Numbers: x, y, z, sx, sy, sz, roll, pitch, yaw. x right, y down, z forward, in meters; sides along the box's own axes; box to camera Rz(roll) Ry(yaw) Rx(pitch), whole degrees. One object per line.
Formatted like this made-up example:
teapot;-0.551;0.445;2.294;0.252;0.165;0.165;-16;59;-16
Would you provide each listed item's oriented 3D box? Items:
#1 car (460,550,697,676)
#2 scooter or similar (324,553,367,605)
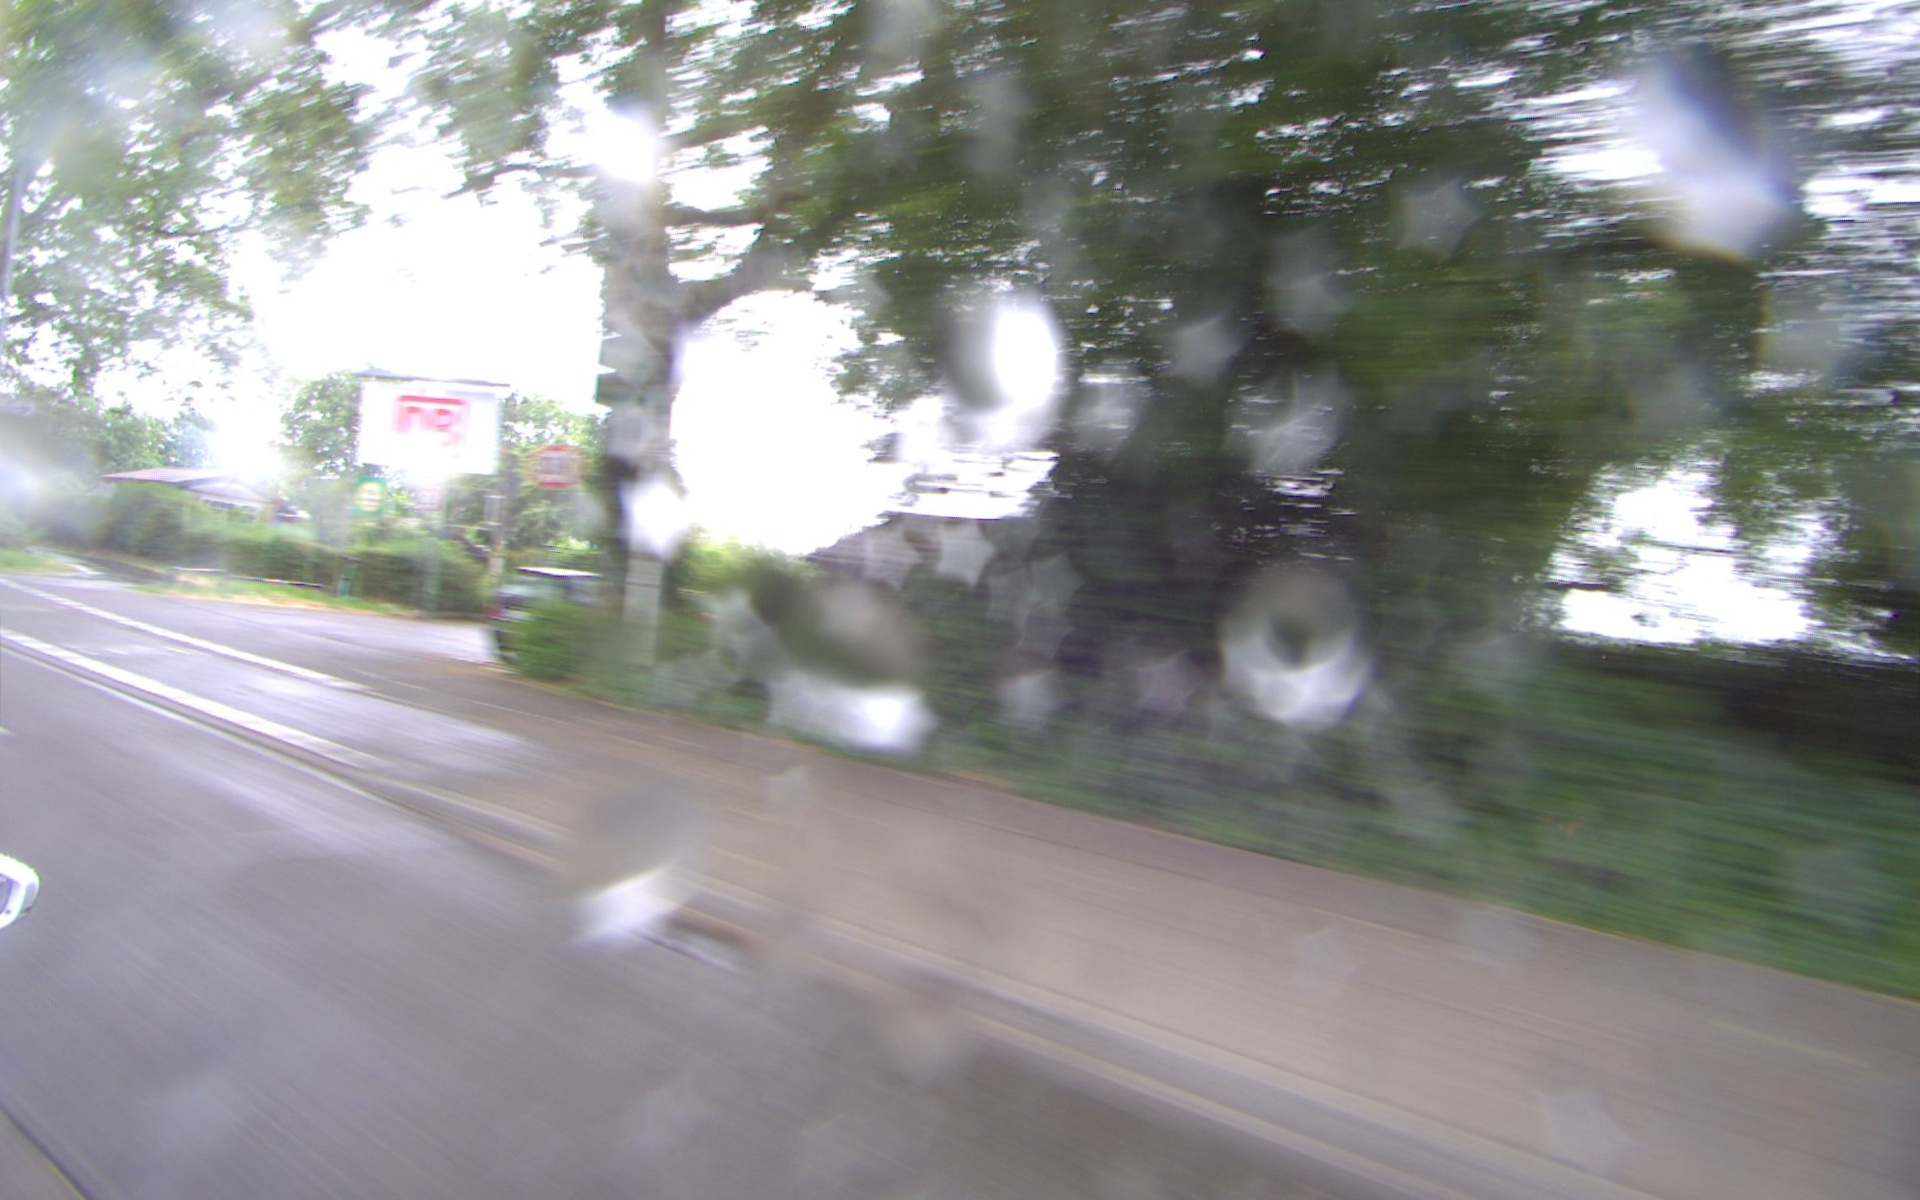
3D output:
car;-6.220;0.293;16.787;1.628;1.627;3.394;9;-2;22
scooter or similar;-14.756;-0.508;24.140;1.259;1.129;0.458;6;-3;45
